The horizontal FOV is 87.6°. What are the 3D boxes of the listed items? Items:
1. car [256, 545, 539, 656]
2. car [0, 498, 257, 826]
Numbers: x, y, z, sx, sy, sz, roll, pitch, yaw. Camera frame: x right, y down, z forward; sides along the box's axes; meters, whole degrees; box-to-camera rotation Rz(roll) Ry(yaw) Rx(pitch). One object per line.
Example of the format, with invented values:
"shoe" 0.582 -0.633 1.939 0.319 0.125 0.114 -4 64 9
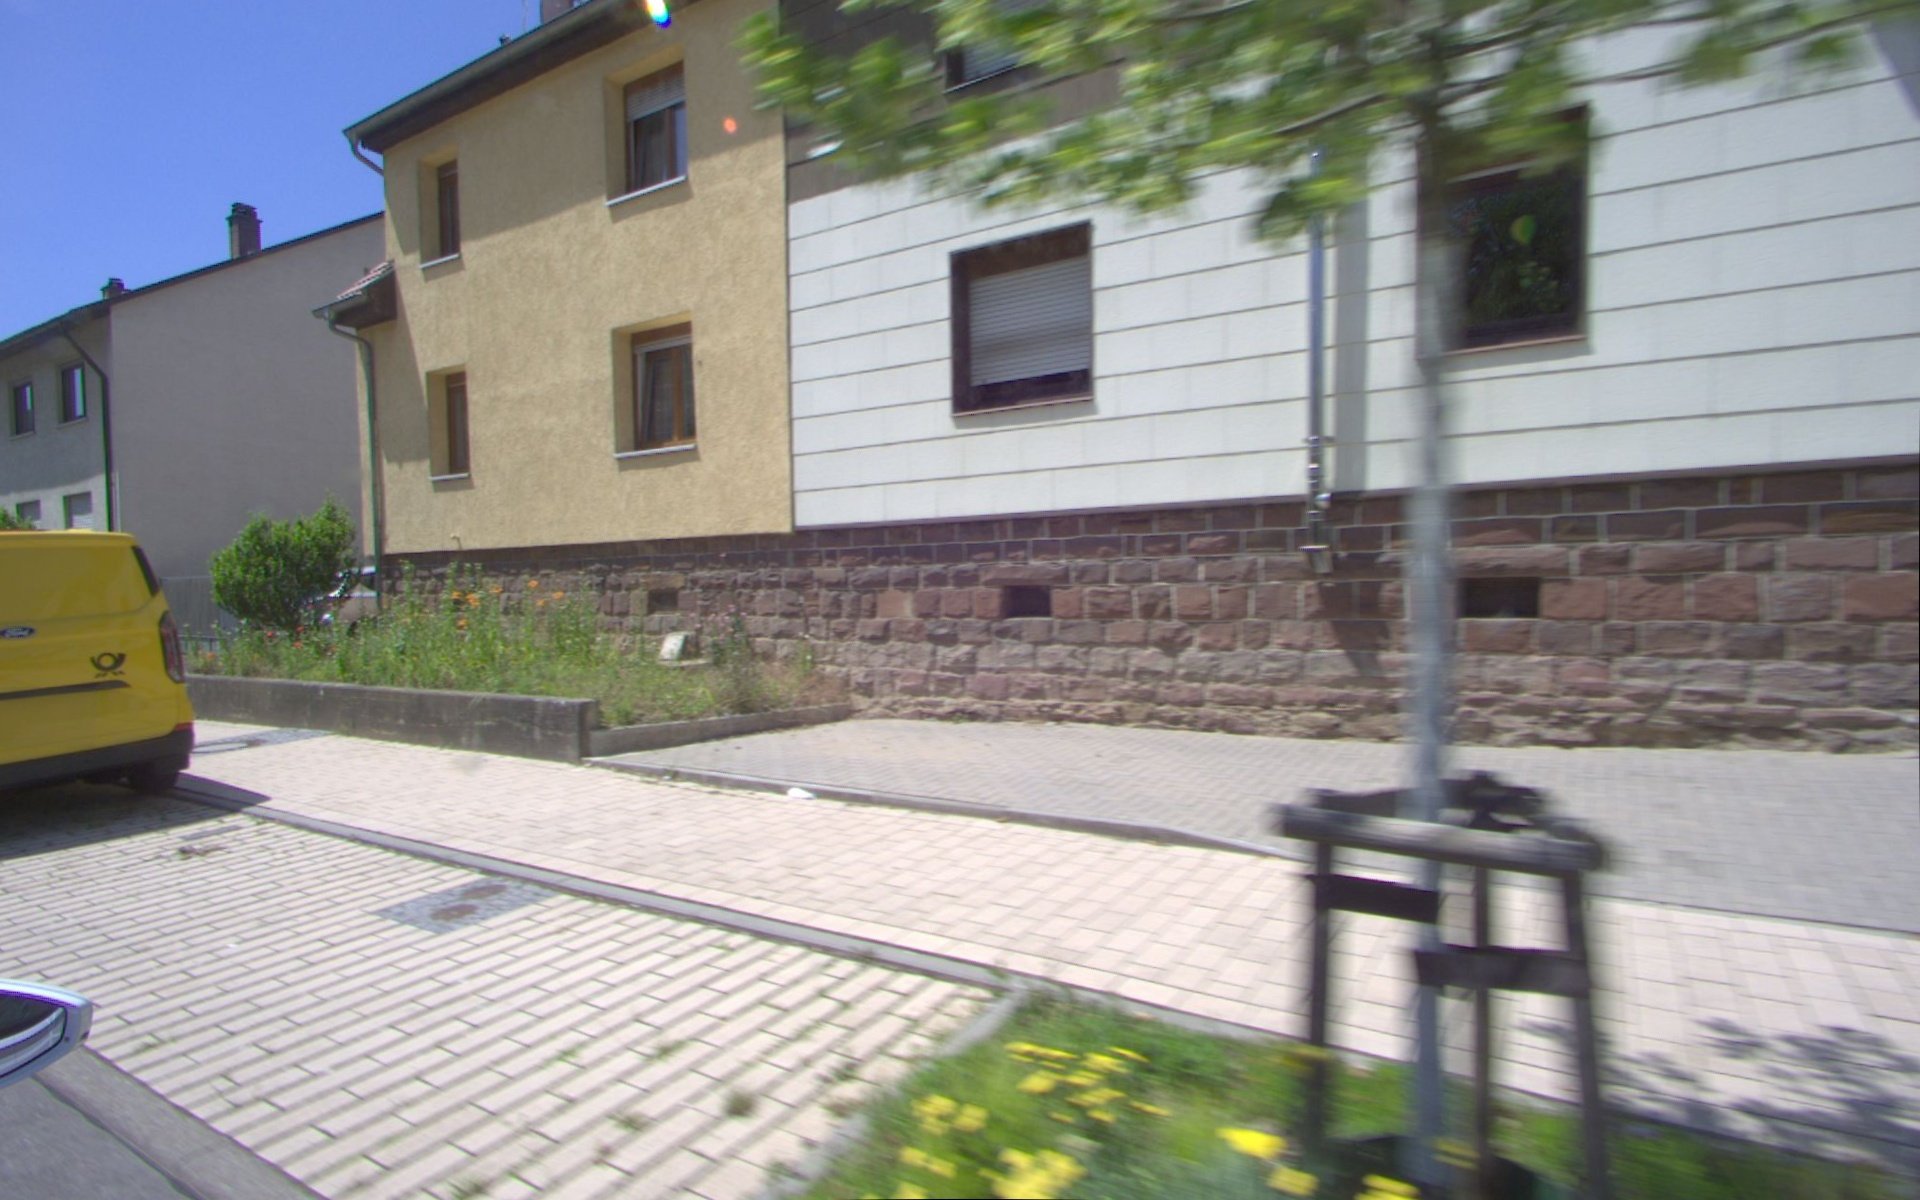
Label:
"car" -9.956 -0.069 18.052 1.846 1.700 3.977 0 4 30
"car" -8.221 0.427 7.950 5.542 2.042 2.183 -1 4 32
